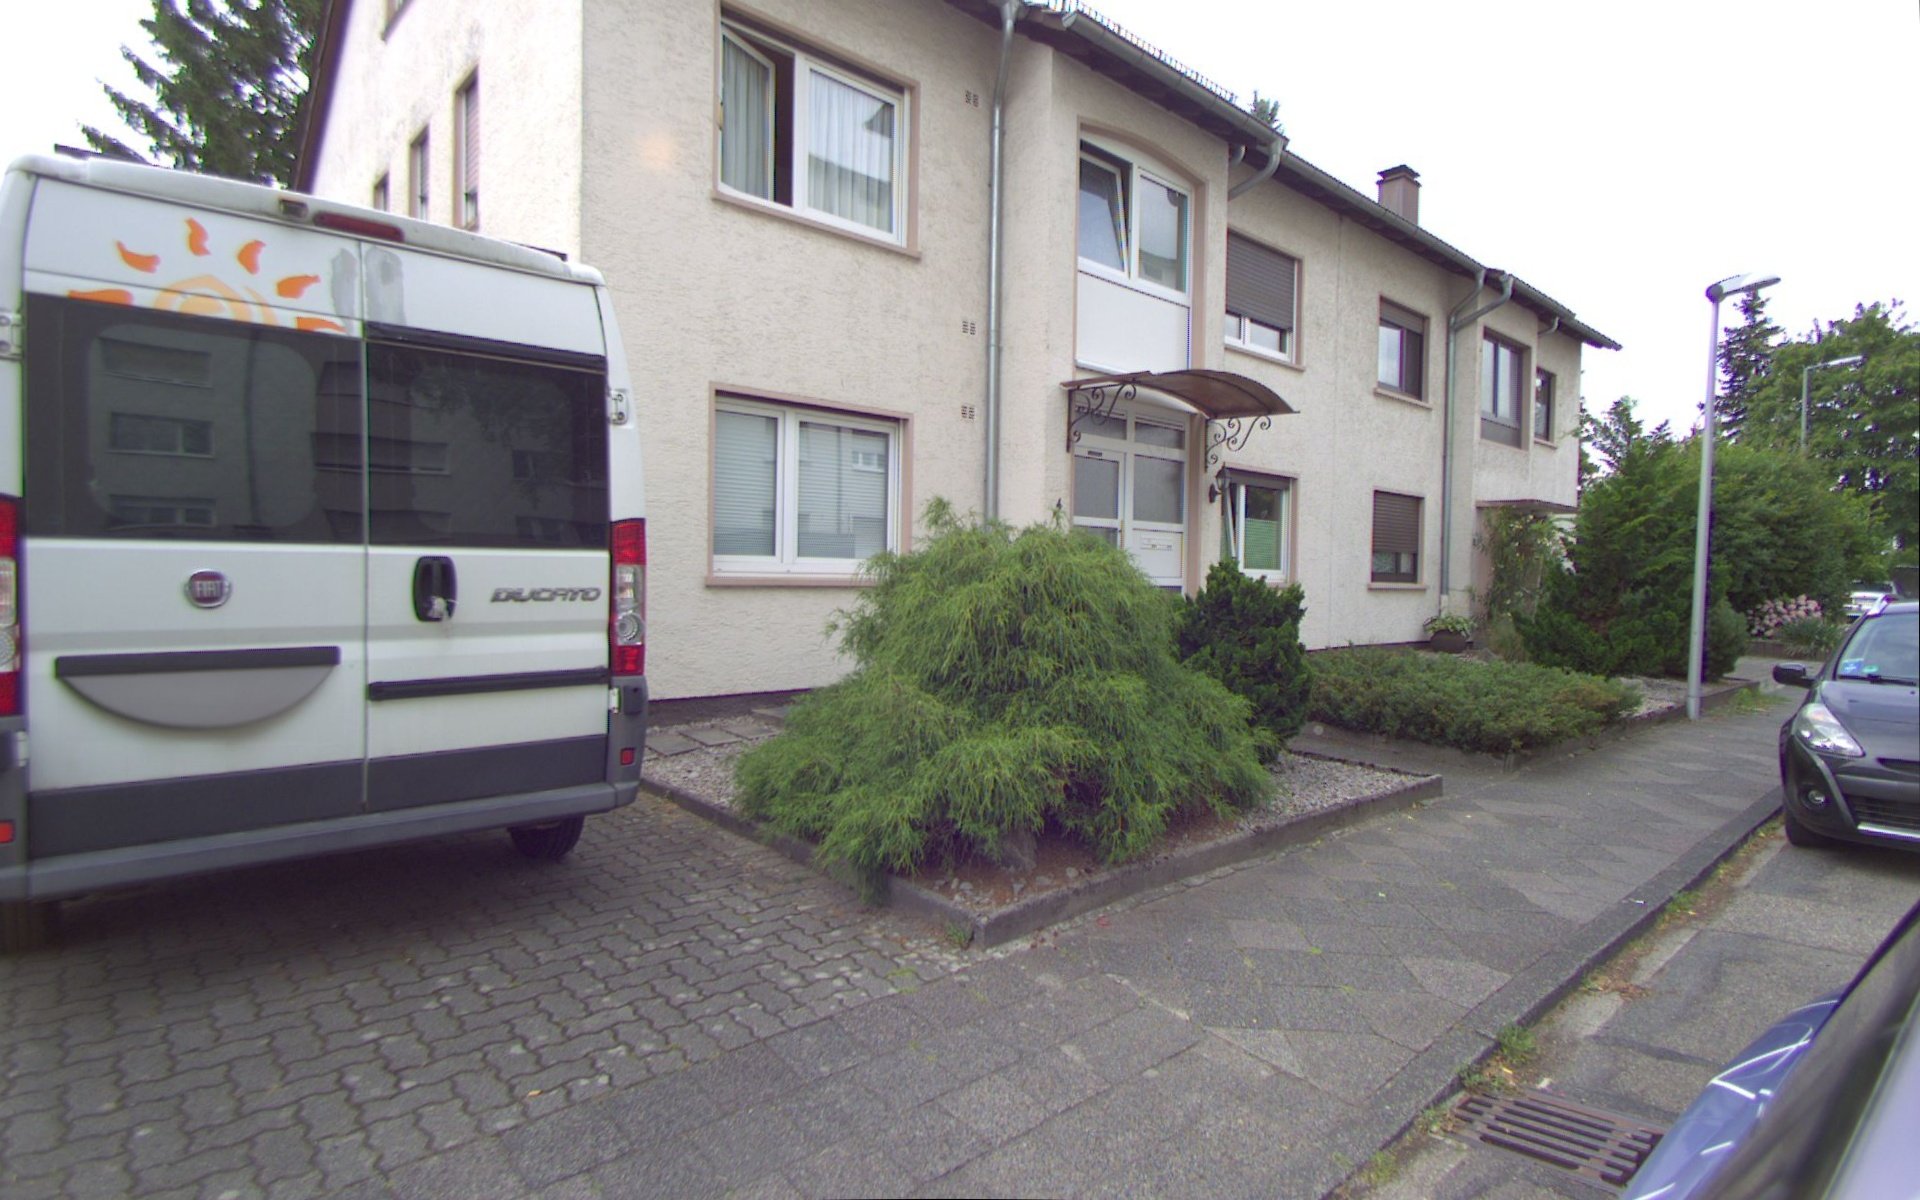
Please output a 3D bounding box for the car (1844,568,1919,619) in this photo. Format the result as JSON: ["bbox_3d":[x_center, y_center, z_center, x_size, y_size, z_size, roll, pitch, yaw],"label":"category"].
[{"bbox_3d":[30.356,-0.265,33.246,1.702,1.484,3.936,3,4,45],"label":"car"}]

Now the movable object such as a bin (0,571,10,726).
[{"bbox_3d":[-7.051,0.343,7.110,0.537,1.069,0.456,0,4,-43],"label":"movable object such as a bin"}]

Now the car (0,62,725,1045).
[{"bbox_3d":[-3.453,-0.247,5.229,2.199,2.573,5.098,0,3,-41],"label":"car"}]

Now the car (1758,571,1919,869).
[{"bbox_3d":[6.427,0.586,6.274,4.122,1.476,1.831,0,1,-45],"label":"car"}]
